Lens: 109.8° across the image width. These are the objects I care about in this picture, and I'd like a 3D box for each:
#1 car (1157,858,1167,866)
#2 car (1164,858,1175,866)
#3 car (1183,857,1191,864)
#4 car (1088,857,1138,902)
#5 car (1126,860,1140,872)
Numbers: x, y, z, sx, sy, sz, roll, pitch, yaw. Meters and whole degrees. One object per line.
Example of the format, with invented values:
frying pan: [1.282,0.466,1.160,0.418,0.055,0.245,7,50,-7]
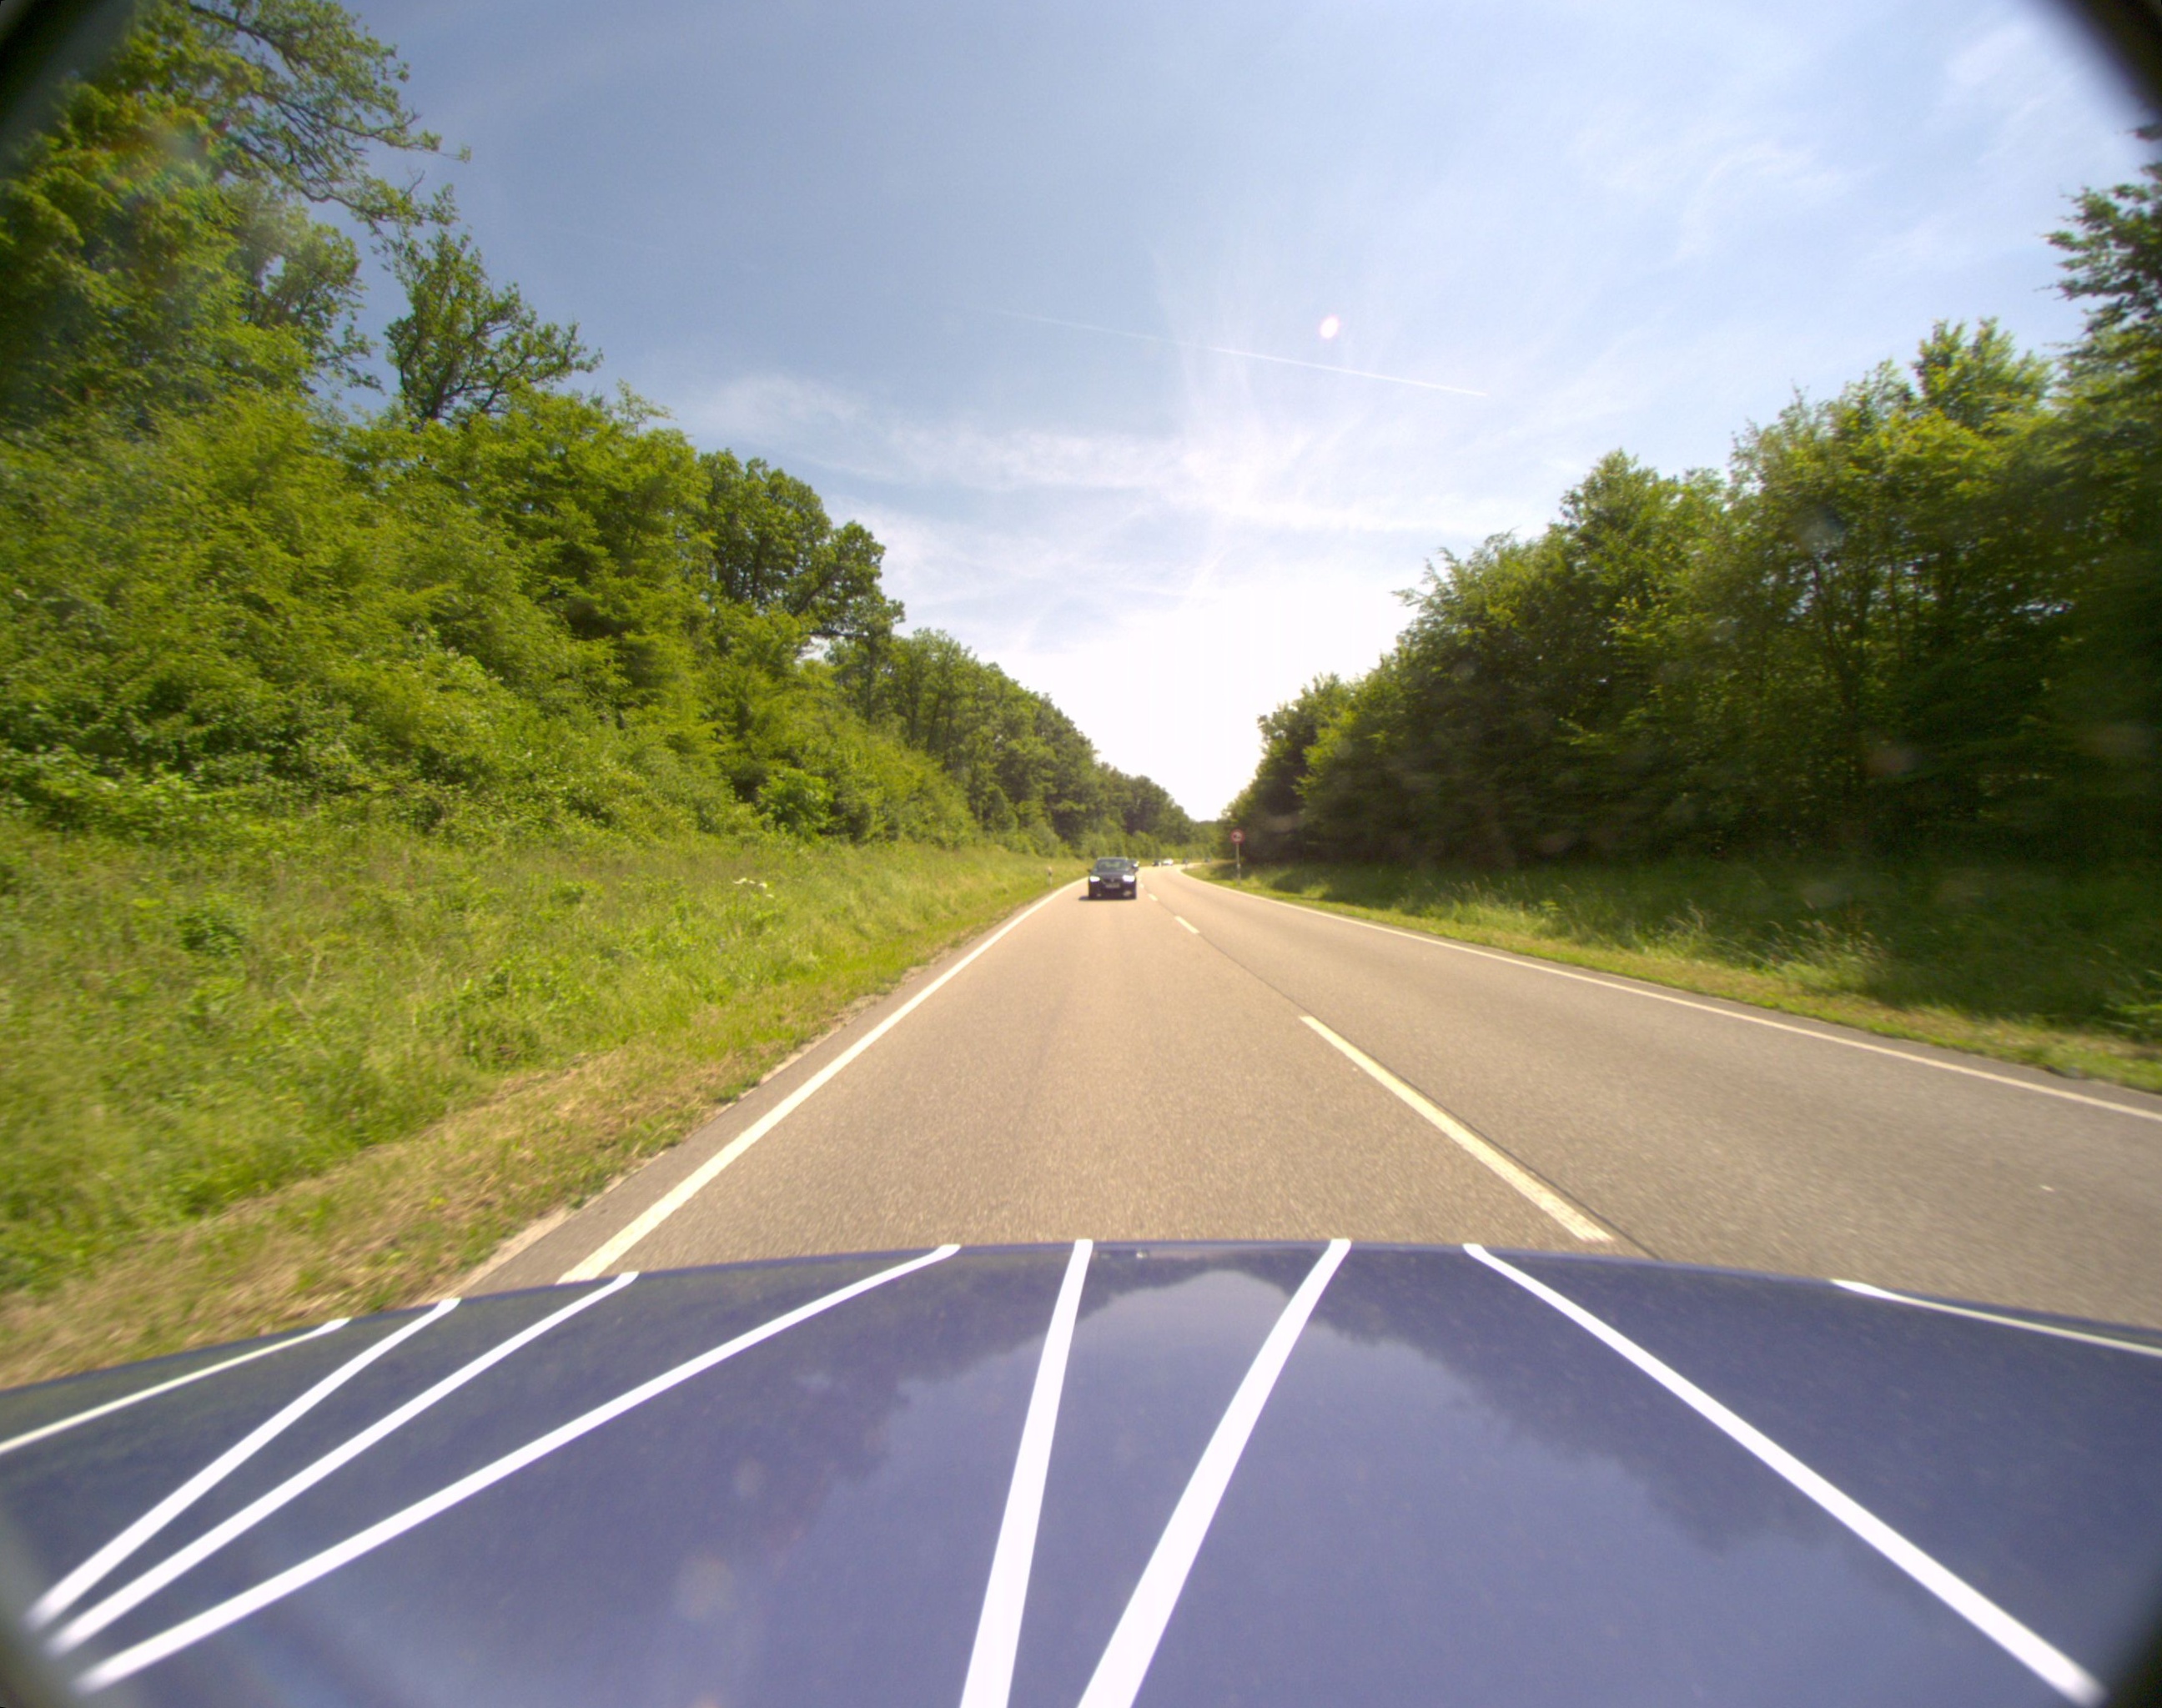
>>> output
car: [15.907,1.570,149.121,1.774,1.454,4.003,-1,0,10]
car: [20.480,1.896,175.480,2.017,1.737,4.385,-1,0,12]
car: [29.217,1.808,209.284,1.691,1.718,4.004,-1,0,12]
car: [1.213,0.905,28.588,1.713,1.516,4.242,-1,0,2]
car: [6.757,1.554,98.843,1.775,1.454,3.949,-1,0,4]
